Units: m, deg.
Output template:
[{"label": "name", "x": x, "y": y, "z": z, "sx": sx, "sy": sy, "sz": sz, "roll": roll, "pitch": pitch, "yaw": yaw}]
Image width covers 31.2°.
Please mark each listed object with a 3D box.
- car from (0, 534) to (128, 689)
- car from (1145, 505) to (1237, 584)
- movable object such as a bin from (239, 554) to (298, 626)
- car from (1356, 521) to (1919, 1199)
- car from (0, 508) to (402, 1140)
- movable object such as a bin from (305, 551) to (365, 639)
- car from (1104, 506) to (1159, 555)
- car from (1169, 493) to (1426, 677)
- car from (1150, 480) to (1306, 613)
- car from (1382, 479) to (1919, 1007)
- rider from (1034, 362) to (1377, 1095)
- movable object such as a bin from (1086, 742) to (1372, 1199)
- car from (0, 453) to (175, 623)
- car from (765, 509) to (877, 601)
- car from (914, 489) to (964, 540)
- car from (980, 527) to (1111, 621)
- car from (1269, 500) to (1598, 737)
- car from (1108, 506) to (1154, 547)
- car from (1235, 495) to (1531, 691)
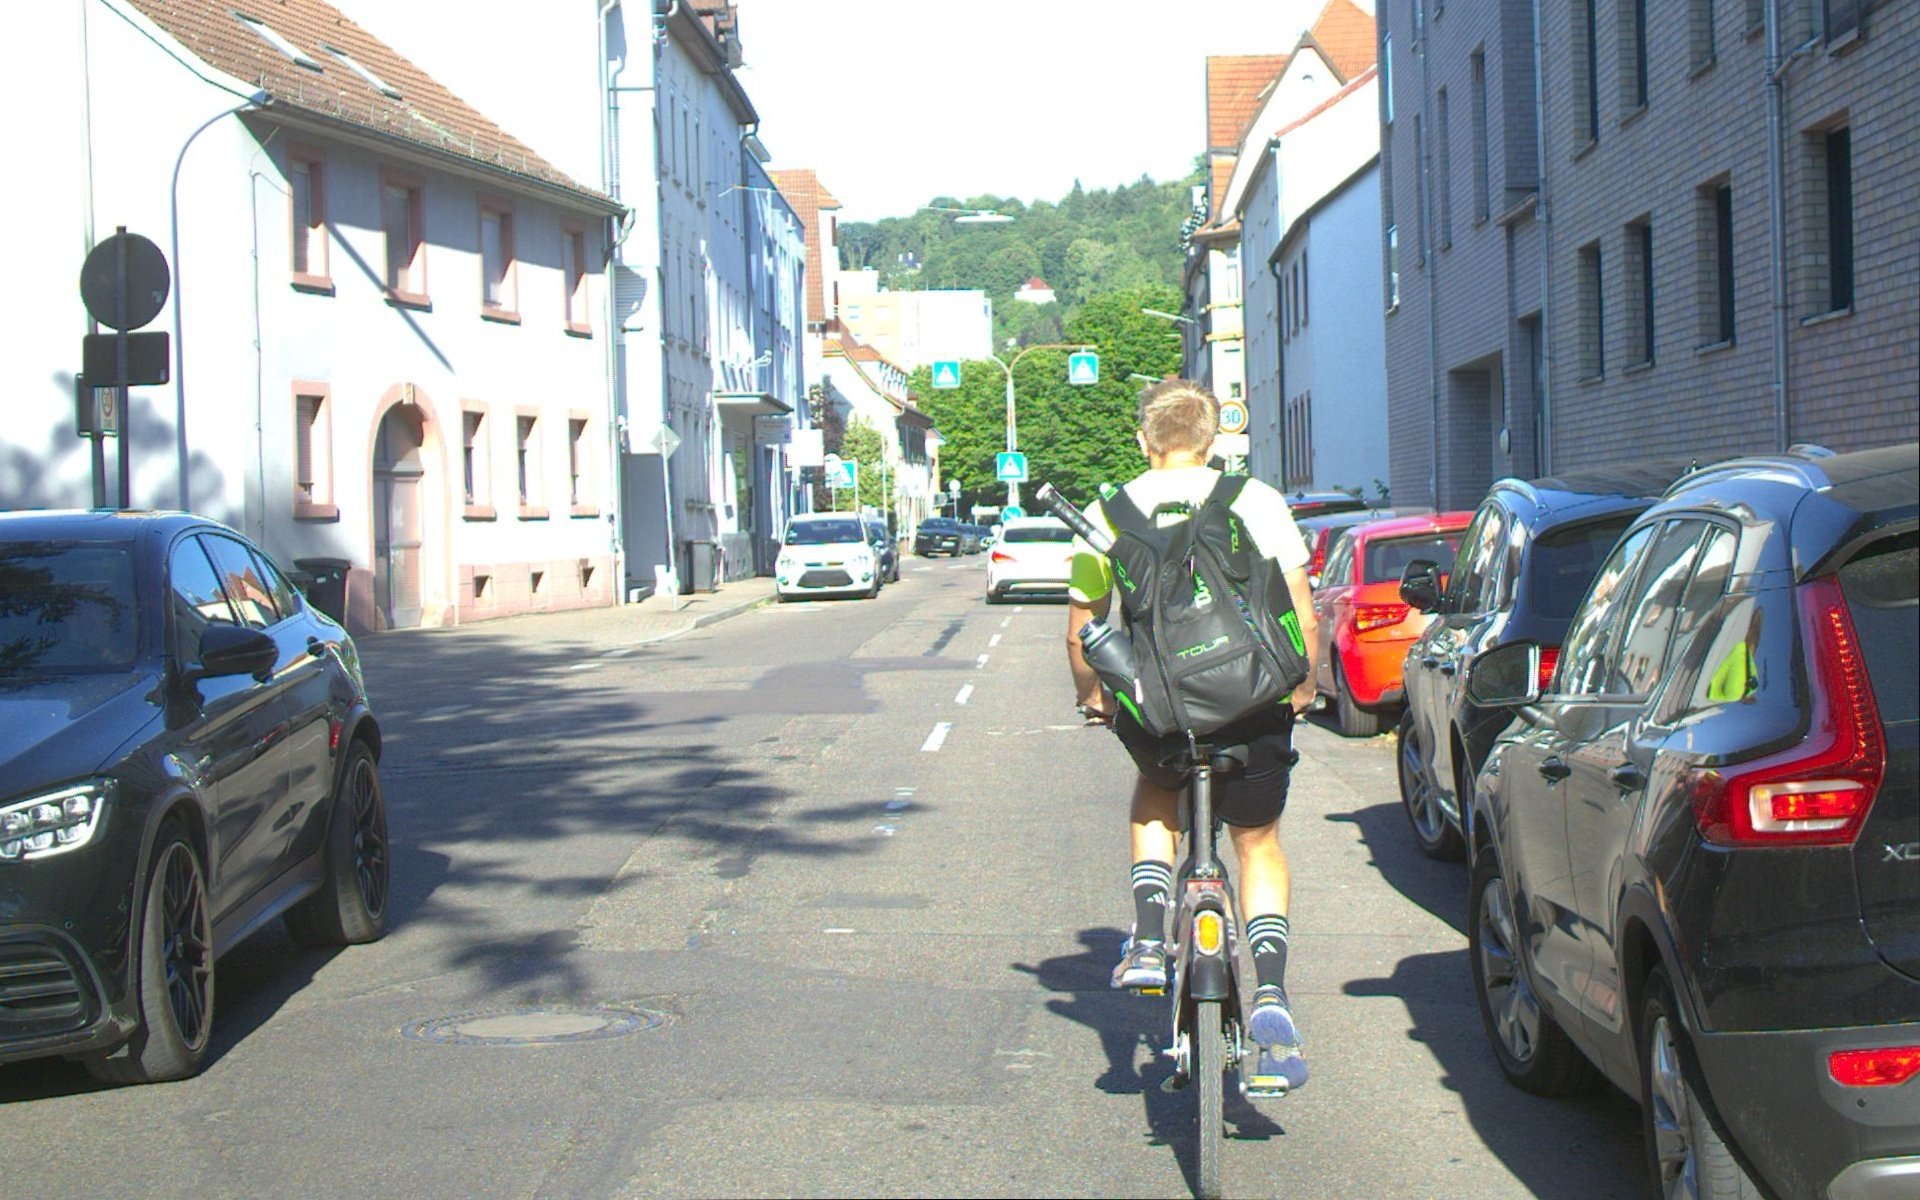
[{"label": "car", "x": -10.969, "y": 0.149, "z": 36.346, "sx": 3.768, "sy": 1.524, "sz": 2.000, "roll": -2, "pitch": 2, "yaw": 2}, {"label": "car", "x": 4.712, "y": -1.160, "z": 70.582, "sx": 1.741, "sy": 1.487, "sz": 4.439, "roll": -3, "pitch": 1, "yaw": 3}, {"label": "movable object such as a bin", "x": -8.565, "y": -0.126, "z": 42.594, "sx": 0.598, "sy": 0.869, "sz": 0.606, "roll": -1, "pitch": 1, "yaw": 0}, {"label": "car", "x": 2.071, "y": 0.565, "z": 7.665, "sx": 1.816, "sy": 1.461, "sz": 4.270, "roll": -1, "pitch": 1, "yaw": 0}, {"label": "car", "x": -3.036, "y": 0.533, "z": 10.720, "sx": 1.939, "sy": 1.570, "sz": 4.319, "roll": -1, "pitch": 1, "yaw": -1}, {"label": "movable object such as a bin", "x": -7.920, "y": -0.067, "z": 43.557, "sx": 0.598, "sy": 1.090, "sz": 0.751, "roll": 0, "pitch": 1, "yaw": 2}, {"label": "car", "x": 6.727, "y": -2.757, "z": 135.303, "sx": 2.011, "sy": 1.846, "sz": 4.000, "roll": 0, "pitch": 2, "yaw": 1}, {"label": "car", "x": 3.277, "y": -0.211, "z": 34.318, "sx": 1.993, "sy": 1.647, "sz": 4.763, "roll": -1, "pitch": 2, "yaw": -1}, {"label": "car", "x": 3.629, "y": -0.768, "z": 47.217, "sx": 1.855, "sy": 1.630, "sz": 4.623, "roll": -3, "pitch": 2, "yaw": 2}, {"label": "car", "x": 2.709, "y": 0.394, "z": 13.639, "sx": 1.890, "sy": 1.706, "sz": 4.773, "roll": -1, "pitch": 2, "yaw": 5}, {"label": "rider", "x": 0.540, "y": 0.276, "z": 7.933, "sx": 0.653, "sy": 1.556, "sz": 1.083, "roll": 2, "pitch": 0, "yaw": 0}, {"label": "movable object such as a bin", "x": 0.573, "y": 0.882, "z": 7.802, "sx": 0.454, "sy": 1.029, "sz": 1.840, "roll": 2, "pitch": 0, "yaw": -1}, {"label": "car", "x": -11.595, "y": -0.789, "z": 40.036, "sx": 4.363, "sy": 1.788, "sz": 1.988, "roll": 2, "pitch": 4, "yaw": 3}, {"label": "car", "x": -2.567, "y": -0.884, "z": 64.718, "sx": 1.993, "sy": 1.642, "sz": 5.222, "roll": -1, "pitch": 2, "yaw": -1}, {"label": "car", "x": -0.844, "y": -3.514, "z": 140.962, "sx": 1.993, "sy": 2.007, "sz": 4.000, "roll": -1, "pitch": 2, "yaw": 0}, {"label": "car", "x": 1.370, "y": -0.455, "z": 56.682, "sx": 1.993, "sy": 1.461, "sz": 4.000, "roll": -1, "pitch": 1, "yaw": 0}, {"label": "car", "x": 3.249, "y": 0.068, "z": 24.288, "sx": 1.712, "sy": 1.399, "sz": 4.073, "roll": -5, "pitch": 1, "yaw": 1}, {"label": "car", "x": 7.309, "y": -3.137, "z": 146.645, "sx": 1.818, "sy": 1.625, "sz": 4.000, "roll": -2, "pitch": 2, "yaw": 4}, {"label": "car", "x": 3.498, "y": -0.122, "z": 29.202, "sx": 1.993, "sy": 1.500, "sz": 4.367, "roll": -1, "pitch": 2, "yaw": 1}]
